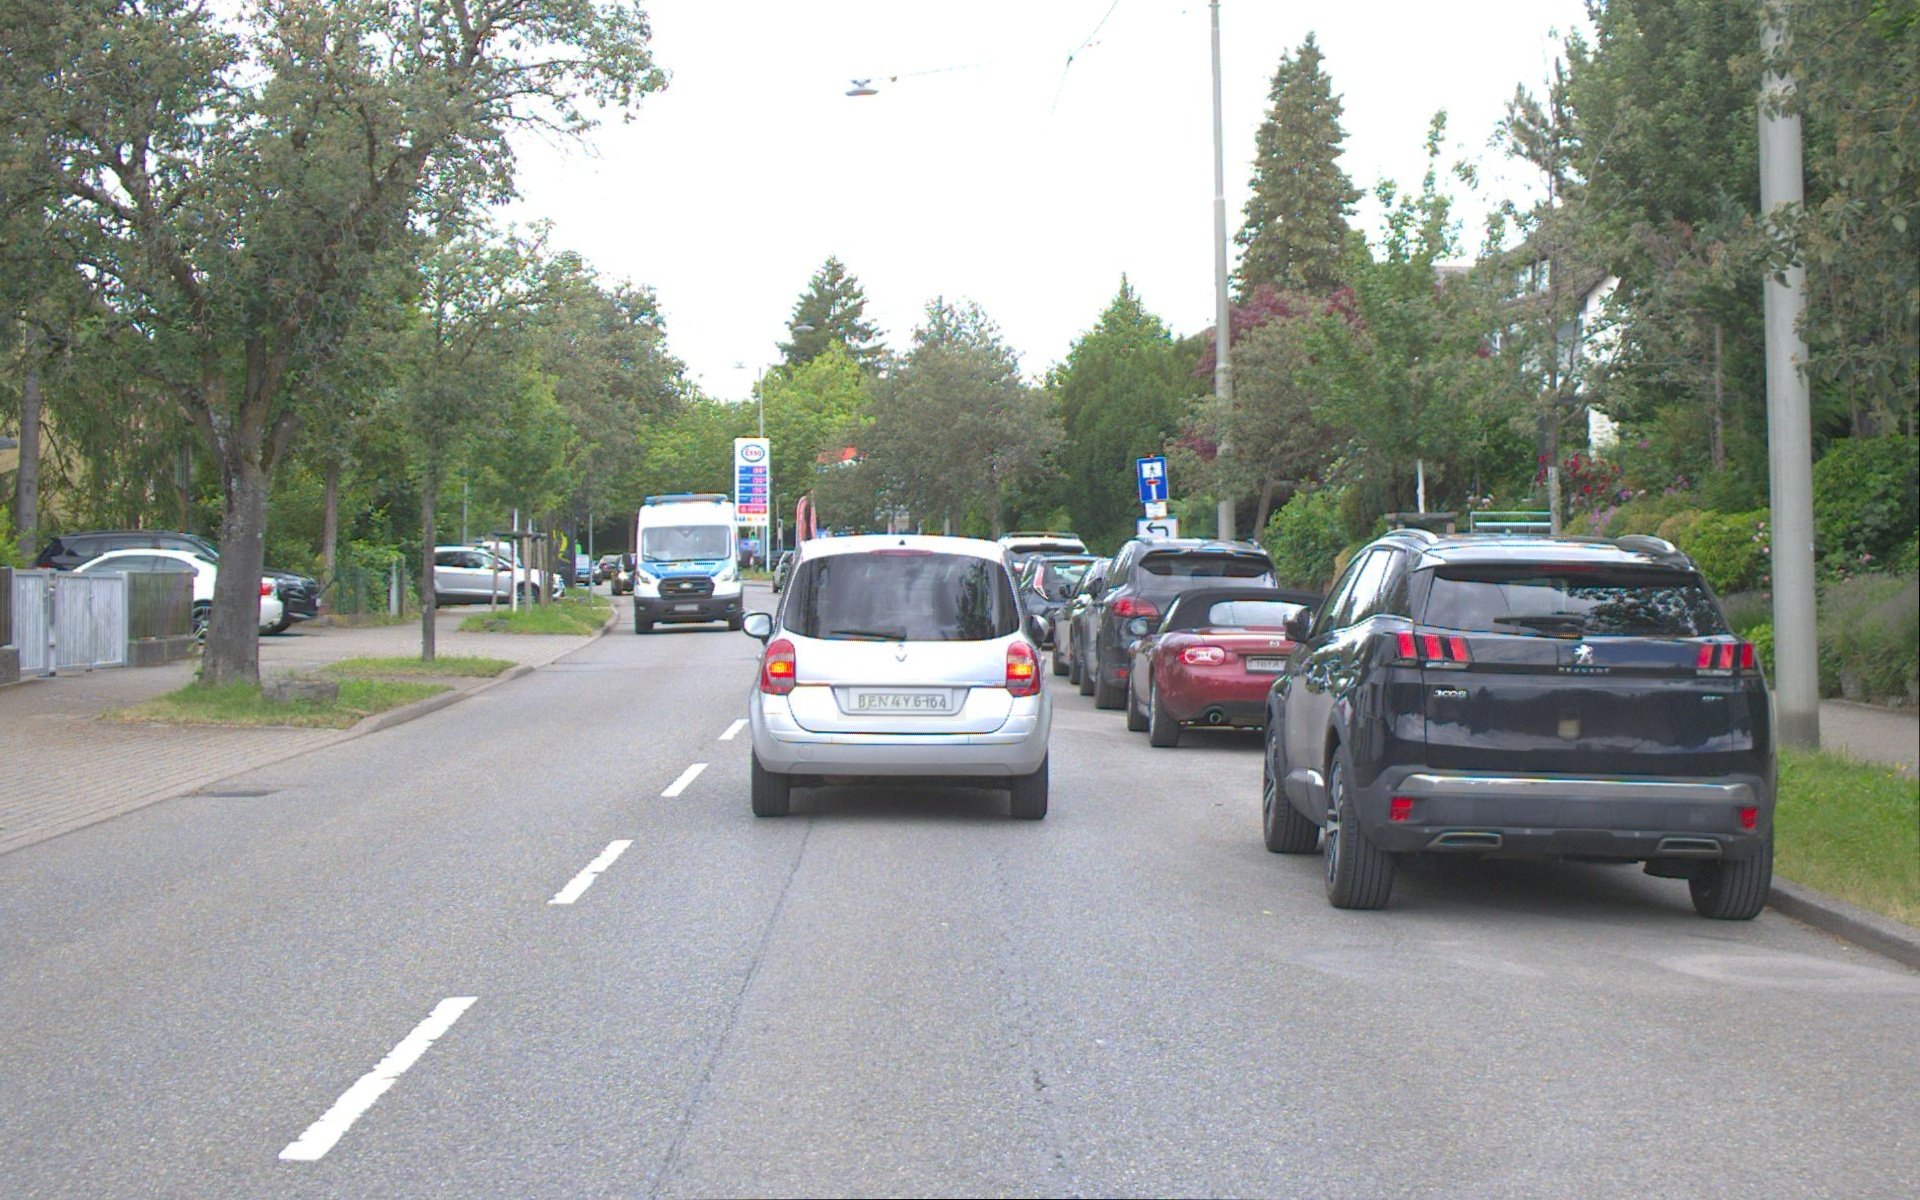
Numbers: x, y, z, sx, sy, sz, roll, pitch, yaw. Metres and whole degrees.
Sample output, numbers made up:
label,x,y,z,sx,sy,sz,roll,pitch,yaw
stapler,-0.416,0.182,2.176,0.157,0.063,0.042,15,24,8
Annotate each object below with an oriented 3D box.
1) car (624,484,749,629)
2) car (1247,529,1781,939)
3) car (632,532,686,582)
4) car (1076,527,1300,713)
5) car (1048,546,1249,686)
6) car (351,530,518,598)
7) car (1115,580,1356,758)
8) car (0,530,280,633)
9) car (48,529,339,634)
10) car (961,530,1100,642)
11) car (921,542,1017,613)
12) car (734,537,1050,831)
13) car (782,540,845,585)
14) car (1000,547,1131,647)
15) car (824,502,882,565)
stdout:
label,x,y,z,sx,sy,sz,roll,pitch,yaw
car,-5.178,-0.843,65.692,2.073,2.573,5.300,-2,1,-2
car,2.394,0.511,15.835,1.688,1.603,4.109,1,1,-1
car,-10.775,-1.538,122.806,1.835,1.708,4.001,-1,1,-5
car,2.186,0.151,34.068,1.830,1.706,4.549,0,1,-1
car,2.073,0.132,38.971,1.830,1.452,4.551,1,1,-2
car,-13.516,-0.936,88.533,4.086,1.700,1.748,0,1,-3
car,2.133,0.499,27.474,1.481,1.232,3.884,2,1,-1
car,-12.331,-0.279,50.929,4.277,1.363,1.817,2,0,-8
car,-12.600,-0.308,56.696,4.333,1.612,1.973,1,0,0
car,1.141,-0.264,57.917,1.799,1.772,4.706,1,1,-5
car,0.160,-0.494,73.106,1.626,1.447,3.877,-1,1,-6
car,-0.373,0.418,20.118,1.679,1.554,3.512,0,1,0
car,-5.087,-1.308,118.929,1.695,1.501,3.974,0,1,-9
car,1.590,-0.070,52.723,1.558,1.438,3.507,1,1,-5
car,-5.154,-3.186,164.983,2.281,2.901,5.280,1,1,-7
